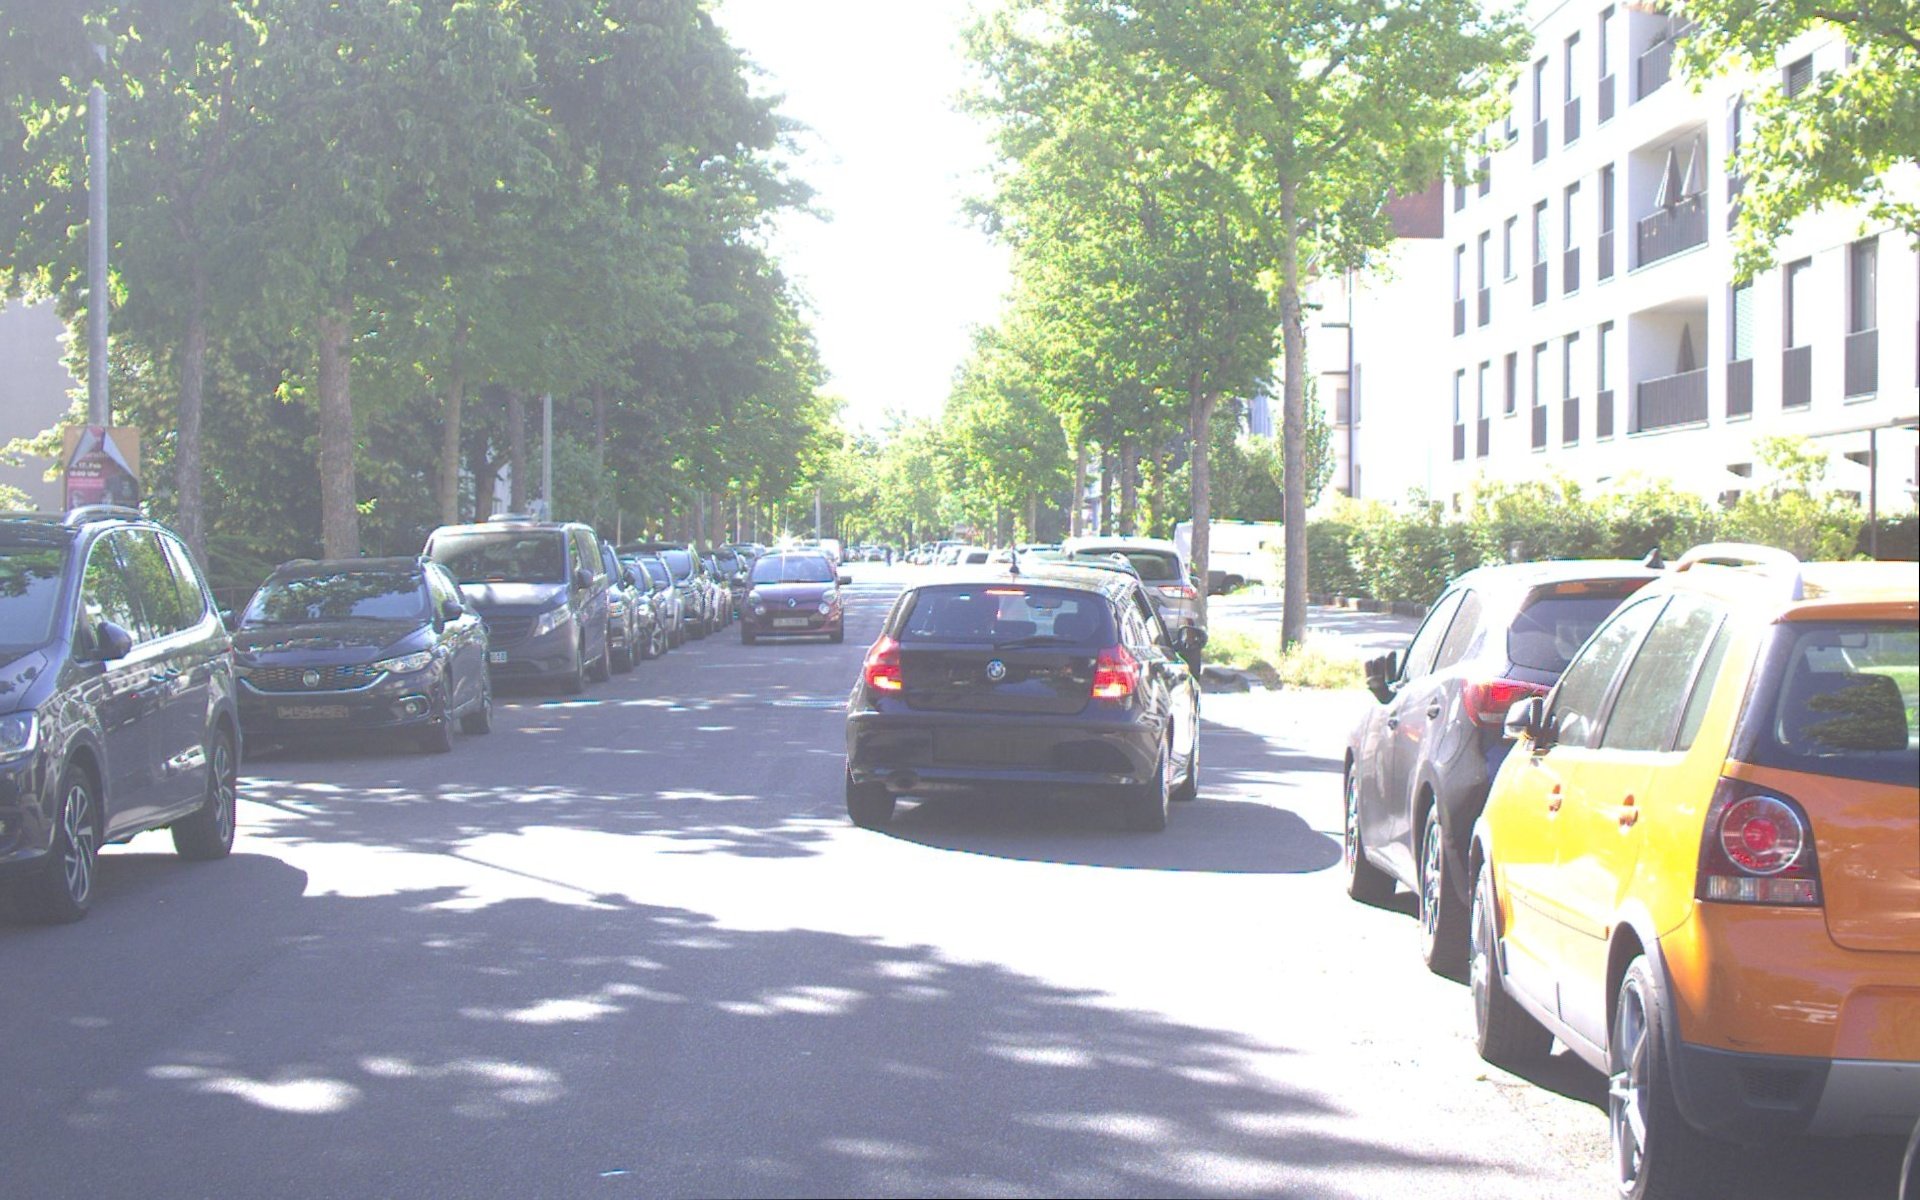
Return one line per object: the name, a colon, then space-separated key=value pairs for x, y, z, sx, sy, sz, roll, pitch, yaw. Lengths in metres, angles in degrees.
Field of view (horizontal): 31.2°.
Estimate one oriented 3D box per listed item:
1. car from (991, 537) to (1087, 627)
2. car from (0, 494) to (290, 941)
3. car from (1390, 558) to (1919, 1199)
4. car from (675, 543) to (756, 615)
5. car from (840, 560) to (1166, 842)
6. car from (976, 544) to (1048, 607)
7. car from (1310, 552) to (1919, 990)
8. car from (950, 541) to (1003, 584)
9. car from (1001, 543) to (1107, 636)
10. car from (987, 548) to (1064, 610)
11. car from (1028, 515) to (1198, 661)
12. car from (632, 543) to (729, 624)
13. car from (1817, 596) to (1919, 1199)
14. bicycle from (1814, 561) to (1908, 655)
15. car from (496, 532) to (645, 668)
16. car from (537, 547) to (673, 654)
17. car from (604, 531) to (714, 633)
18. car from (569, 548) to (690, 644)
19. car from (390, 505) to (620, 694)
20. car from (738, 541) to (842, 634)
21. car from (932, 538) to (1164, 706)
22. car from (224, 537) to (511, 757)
car: x=1.515 y=-0.368 z=67.133 sx=1.721 sy=1.635 sz=3.851 roll=2 pitch=1 yaw=0
car: x=-4.394 y=0.428 z=15.384 sx=1.849 sy=1.675 sz=4.977 roll=-2 pitch=1 yaw=-1
car: x=2.248 y=0.631 z=9.055 sx=1.636 sy=1.450 sz=4.100 roll=0 pitch=1 yaw=-1
car: x=-5.421 y=-0.482 z=76.540 sx=1.612 sy=1.538 sz=3.866 roll=-1 pitch=1 yaw=-2
car: x=0.178 y=0.494 z=19.151 sx=1.649 sy=1.392 sz=3.412 roll=0 pitch=1 yaw=-1
car: x=1.294 y=-0.639 z=87.038 sx=1.721 sy=1.475 sz=3.851 roll=2 pitch=1 yaw=0
car: x=2.468 y=0.548 z=13.622 sx=1.700 sy=1.444 sz=4.082 roll=-1 pitch=1 yaw=0
car: x=0.600 y=-1.349 z=122.325 sx=1.721 sy=1.475 sz=3.851 roll=-1 pitch=1 yaw=2
car: x=1.646 y=-0.214 z=61.128 sx=1.721 sy=1.523 sz=4.000 roll=2 pitch=1 yaw=0
car: x=1.555 y=-0.512 z=82.254 sx=1.721 sy=1.374 sz=3.851 roll=2 pitch=1 yaw=0
car: x=1.771 y=-0.151 z=40.996 sx=1.848 sy=1.625 sz=4.410 roll=1 pitch=0 yaw=1
car: x=-5.252 y=-0.333 z=65.018 sx=1.612 sy=1.447 sz=3.866 roll=-1 pitch=1 yaw=-2
car: x=2.353 y=0.732 z=3.993 sx=1.649 sy=1.423 sz=3.613 roll=-1 pitch=1 yaw=-3
bicycle: x=10.385 y=0.079 z=39.672 sx=0.546 sy=1.051 sz=1.692 roll=-1 pitch=1 yaw=-4
car: x=-4.876 y=-0.032 z=43.474 sx=1.612 sy=1.606 sz=4.230 roll=-1 pitch=1 yaw=-3
car: x=-4.997 y=-0.022 z=48.783 sx=1.612 sy=1.422 sz=4.058 roll=-1 pitch=1 yaw=-2
car: x=-5.160 y=-0.336 z=59.314 sx=1.612 sy=1.673 sz=4.234 roll=-1 pitch=1 yaw=-2
car: x=-5.146 y=-0.086 z=53.876 sx=1.612 sy=1.422 sz=3.726 roll=-1 pitch=1 yaw=-2
car: x=-4.907 y=-0.046 z=37.697 sx=1.826 sy=1.898 sz=5.142 roll=-1 pitch=1 yaw=0
car: x=-2.700 y=-0.221 z=55.194 sx=1.505 sy=1.421 sz=3.178 roll=-1 pitch=1 yaw=0
car: x=0.748 y=0.152 z=31.620 sx=1.649 sy=1.421 sz=4.002 roll=0 pitch=1 yaw=-6
car: x=-4.611 y=0.303 z=27.339 sx=1.507 sy=1.543 sz=4.779 roll=-2 pitch=1 yaw=-1
